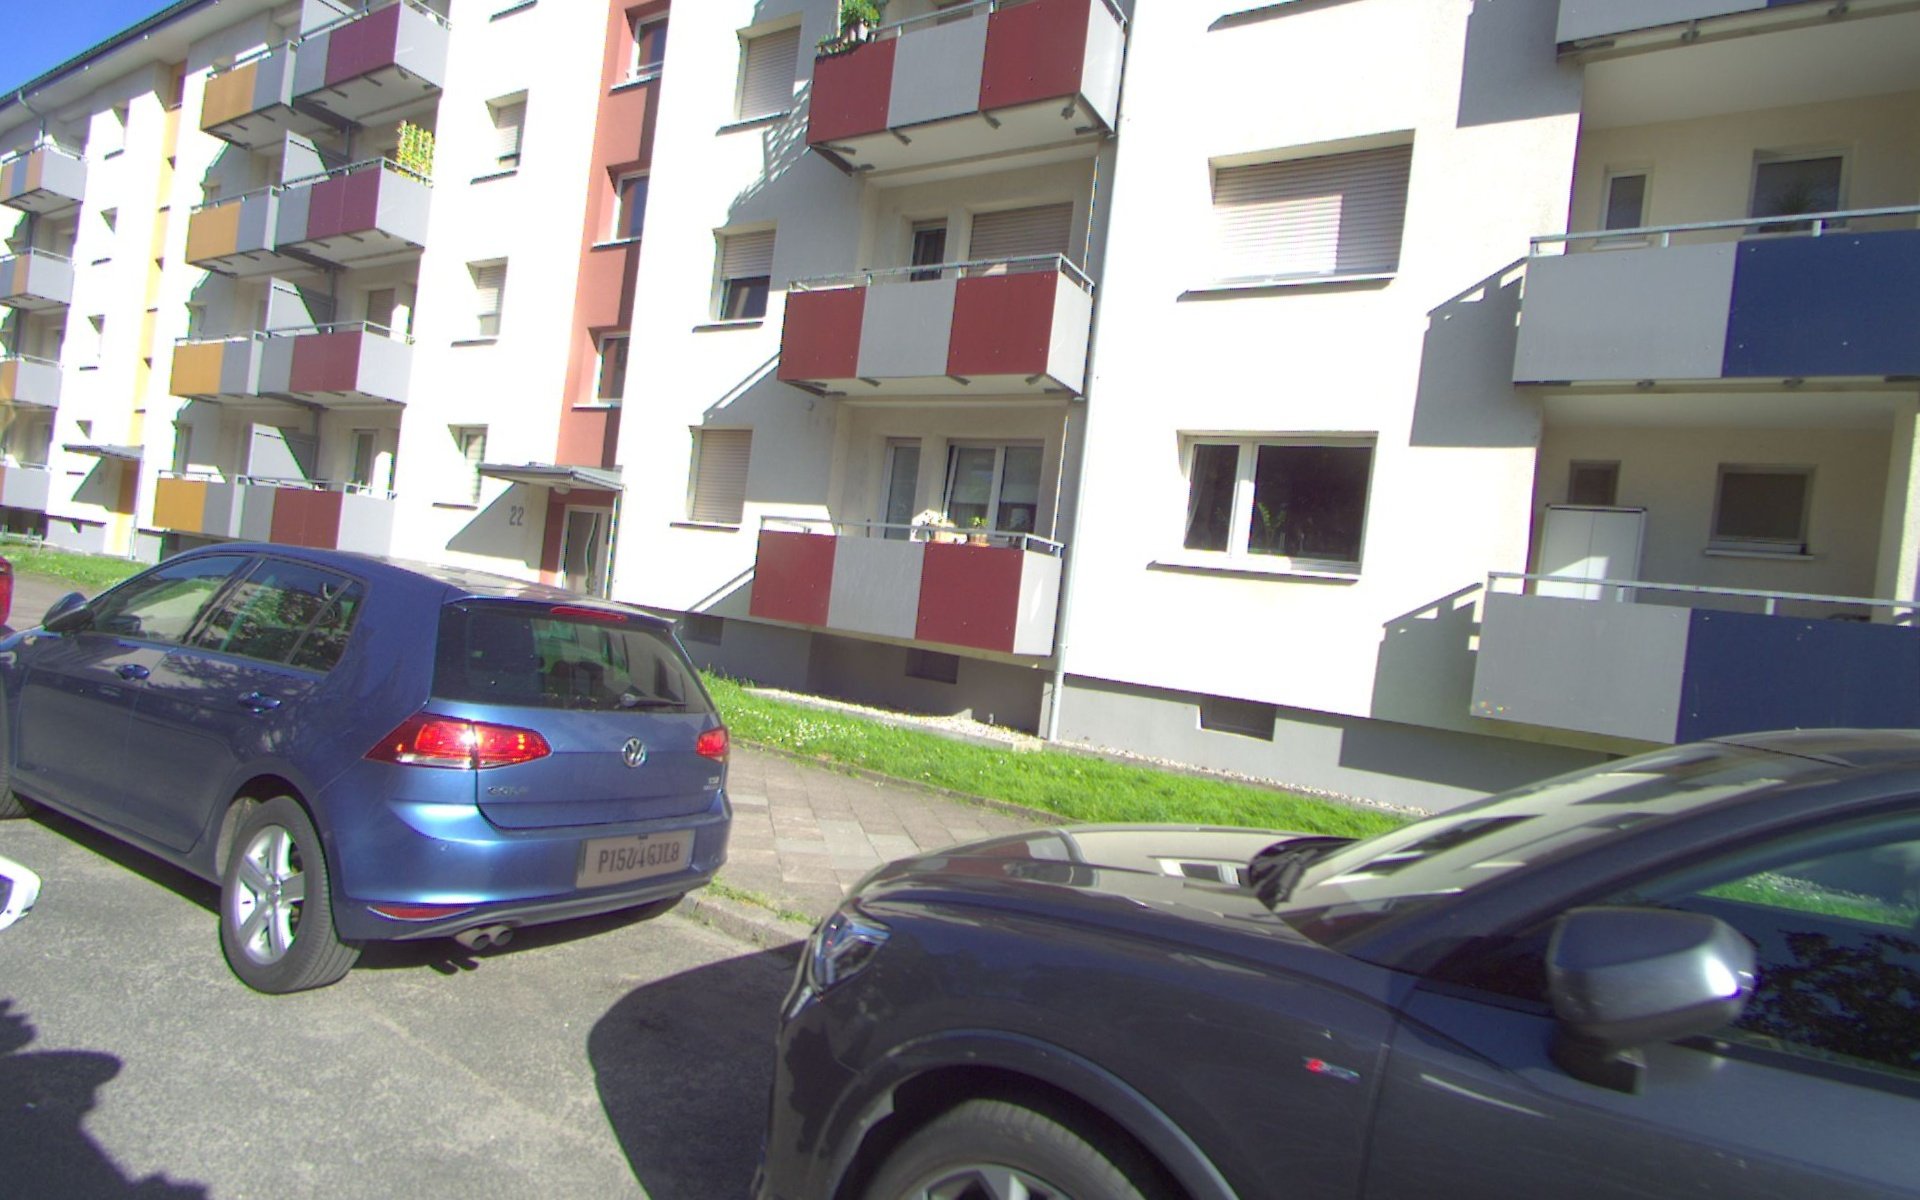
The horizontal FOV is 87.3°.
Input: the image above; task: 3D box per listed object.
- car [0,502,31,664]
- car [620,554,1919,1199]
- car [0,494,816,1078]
[{"bbox_3d":[-10.918,-0.414,9.755,4.450,1.461,1.754,6,-1,34],"label":"car"},{"bbox_3d":[1.598,0.974,1.758,4.183,1.577,1.756,7,-1,30],"label":"car"},{"bbox_3d":[-2.861,0.470,4.577,4.011,1.498,1.756,7,-1,30],"label":"car"}]
